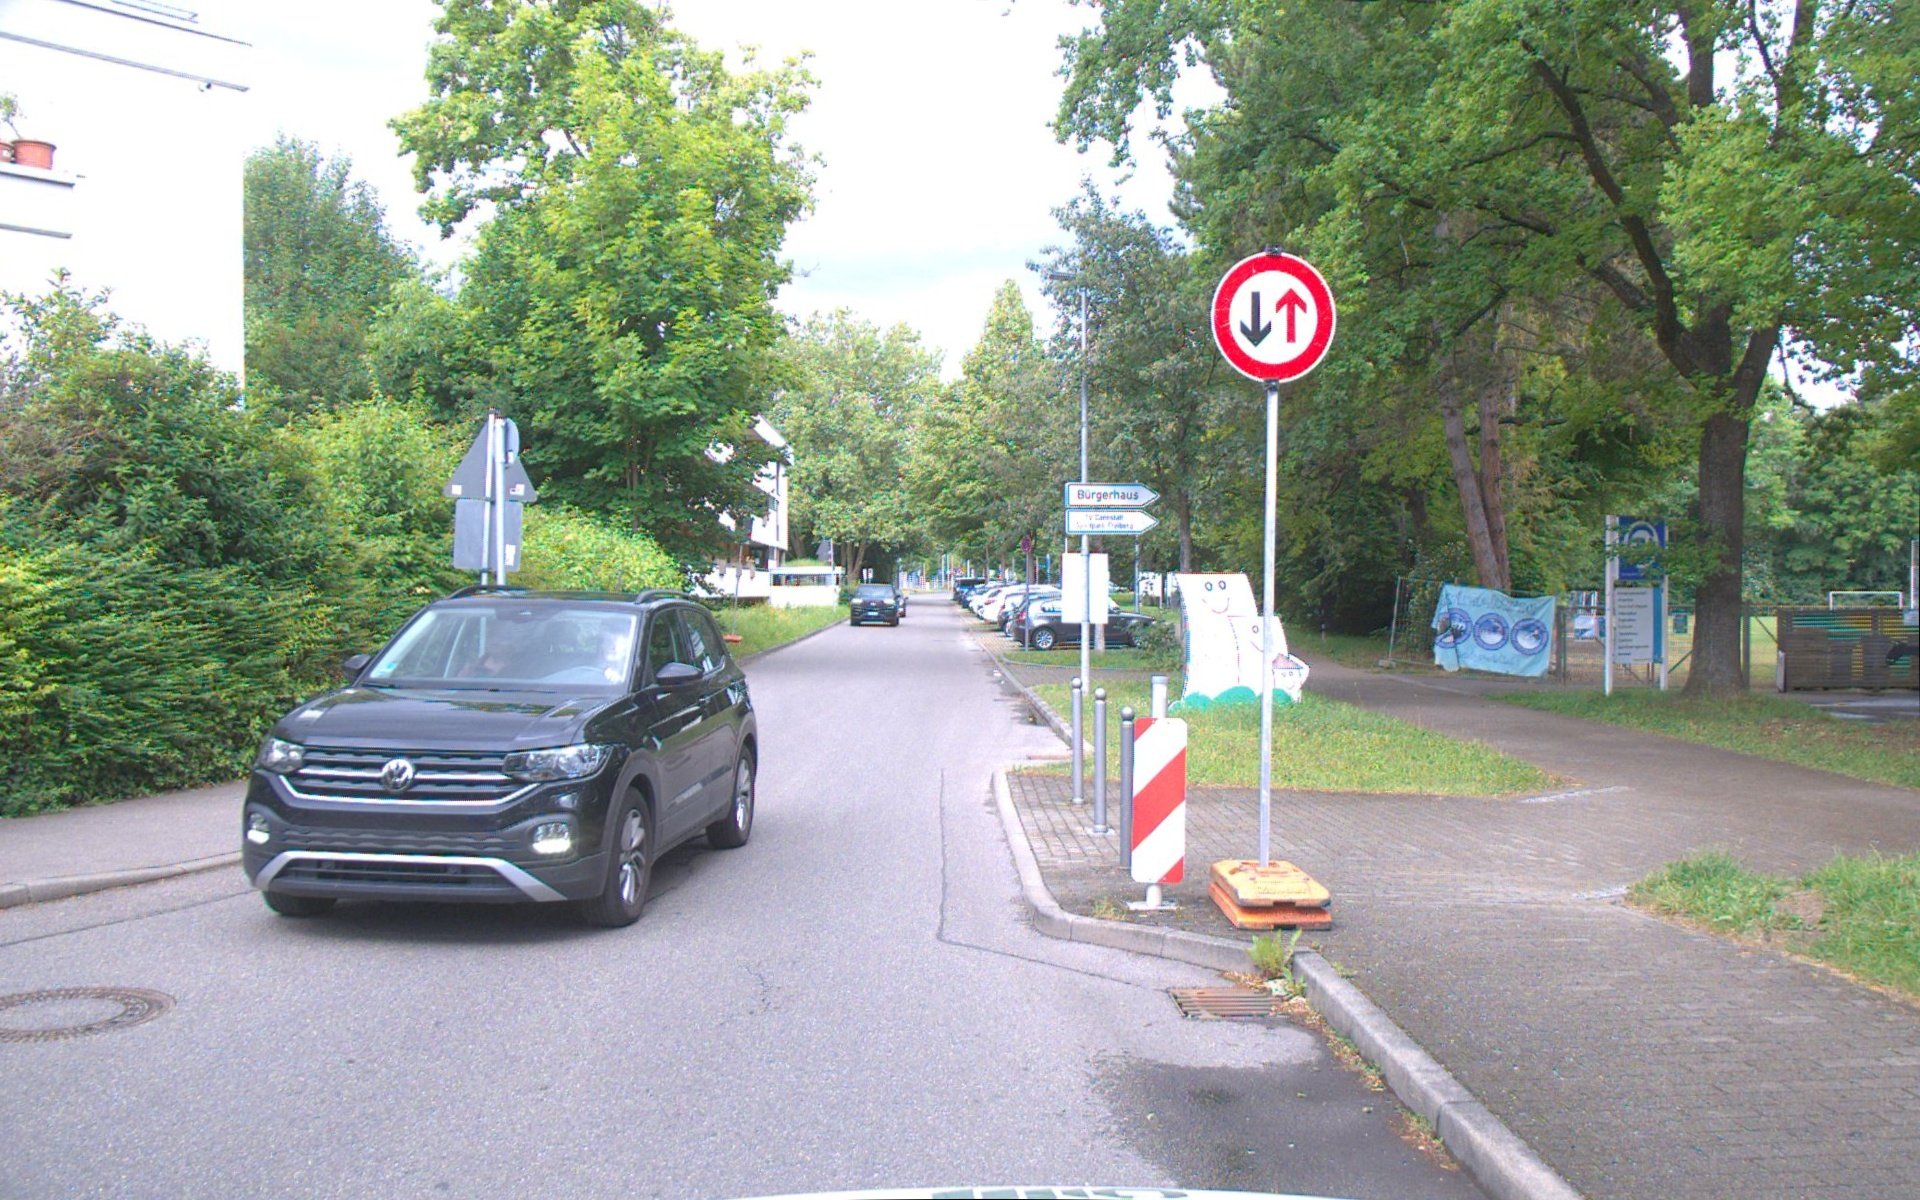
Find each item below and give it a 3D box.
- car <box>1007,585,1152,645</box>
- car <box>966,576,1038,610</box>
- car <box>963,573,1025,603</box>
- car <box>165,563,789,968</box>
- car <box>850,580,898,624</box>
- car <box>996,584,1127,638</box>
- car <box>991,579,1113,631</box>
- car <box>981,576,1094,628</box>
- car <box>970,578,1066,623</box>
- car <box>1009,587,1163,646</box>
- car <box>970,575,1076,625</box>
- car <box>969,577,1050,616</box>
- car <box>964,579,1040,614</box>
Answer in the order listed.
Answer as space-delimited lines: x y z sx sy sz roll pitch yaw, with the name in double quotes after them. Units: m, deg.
3.409 0.448 47.811 3.981 1.596 1.821 -1 -1 -2 "car"
2.423 -0.417 96.842 3.984 1.716 1.821 -4 0 -5 "car"
2.333 -0.819 112.989 3.984 1.801 1.821 -4 0 -5 "car"
-2.199 0.653 8.867 1.765 1.619 4.298 0 0 5 "car"
-3.604 0.059 70.077 1.929 1.778 4.337 0 0 -2 "car"
3.207 0.339 52.591 3.981 1.595 1.822 -1 0 -2 "car"
3.174 0.155 57.462 3.984 1.514 1.821 -4 1 -5 "car"
2.917 0.065 62.775 3.984 1.716 1.821 -4 0 -5 "car"
2.561 -0.005 73.328 3.984 1.716 1.821 -4 0 -5 "car"
3.393 0.465 45.056 3.981 1.459 1.999 -1 -1 -2 "car"
2.510 -0.013 66.452 3.984 1.716 1.821 -4 0 -5 "car"
2.575 -0.188 86.236 3.984 1.716 1.821 -4 0 -5 "car"
2.345 -0.200 92.088 3.984 1.716 1.821 -4 0 -5 "car"
